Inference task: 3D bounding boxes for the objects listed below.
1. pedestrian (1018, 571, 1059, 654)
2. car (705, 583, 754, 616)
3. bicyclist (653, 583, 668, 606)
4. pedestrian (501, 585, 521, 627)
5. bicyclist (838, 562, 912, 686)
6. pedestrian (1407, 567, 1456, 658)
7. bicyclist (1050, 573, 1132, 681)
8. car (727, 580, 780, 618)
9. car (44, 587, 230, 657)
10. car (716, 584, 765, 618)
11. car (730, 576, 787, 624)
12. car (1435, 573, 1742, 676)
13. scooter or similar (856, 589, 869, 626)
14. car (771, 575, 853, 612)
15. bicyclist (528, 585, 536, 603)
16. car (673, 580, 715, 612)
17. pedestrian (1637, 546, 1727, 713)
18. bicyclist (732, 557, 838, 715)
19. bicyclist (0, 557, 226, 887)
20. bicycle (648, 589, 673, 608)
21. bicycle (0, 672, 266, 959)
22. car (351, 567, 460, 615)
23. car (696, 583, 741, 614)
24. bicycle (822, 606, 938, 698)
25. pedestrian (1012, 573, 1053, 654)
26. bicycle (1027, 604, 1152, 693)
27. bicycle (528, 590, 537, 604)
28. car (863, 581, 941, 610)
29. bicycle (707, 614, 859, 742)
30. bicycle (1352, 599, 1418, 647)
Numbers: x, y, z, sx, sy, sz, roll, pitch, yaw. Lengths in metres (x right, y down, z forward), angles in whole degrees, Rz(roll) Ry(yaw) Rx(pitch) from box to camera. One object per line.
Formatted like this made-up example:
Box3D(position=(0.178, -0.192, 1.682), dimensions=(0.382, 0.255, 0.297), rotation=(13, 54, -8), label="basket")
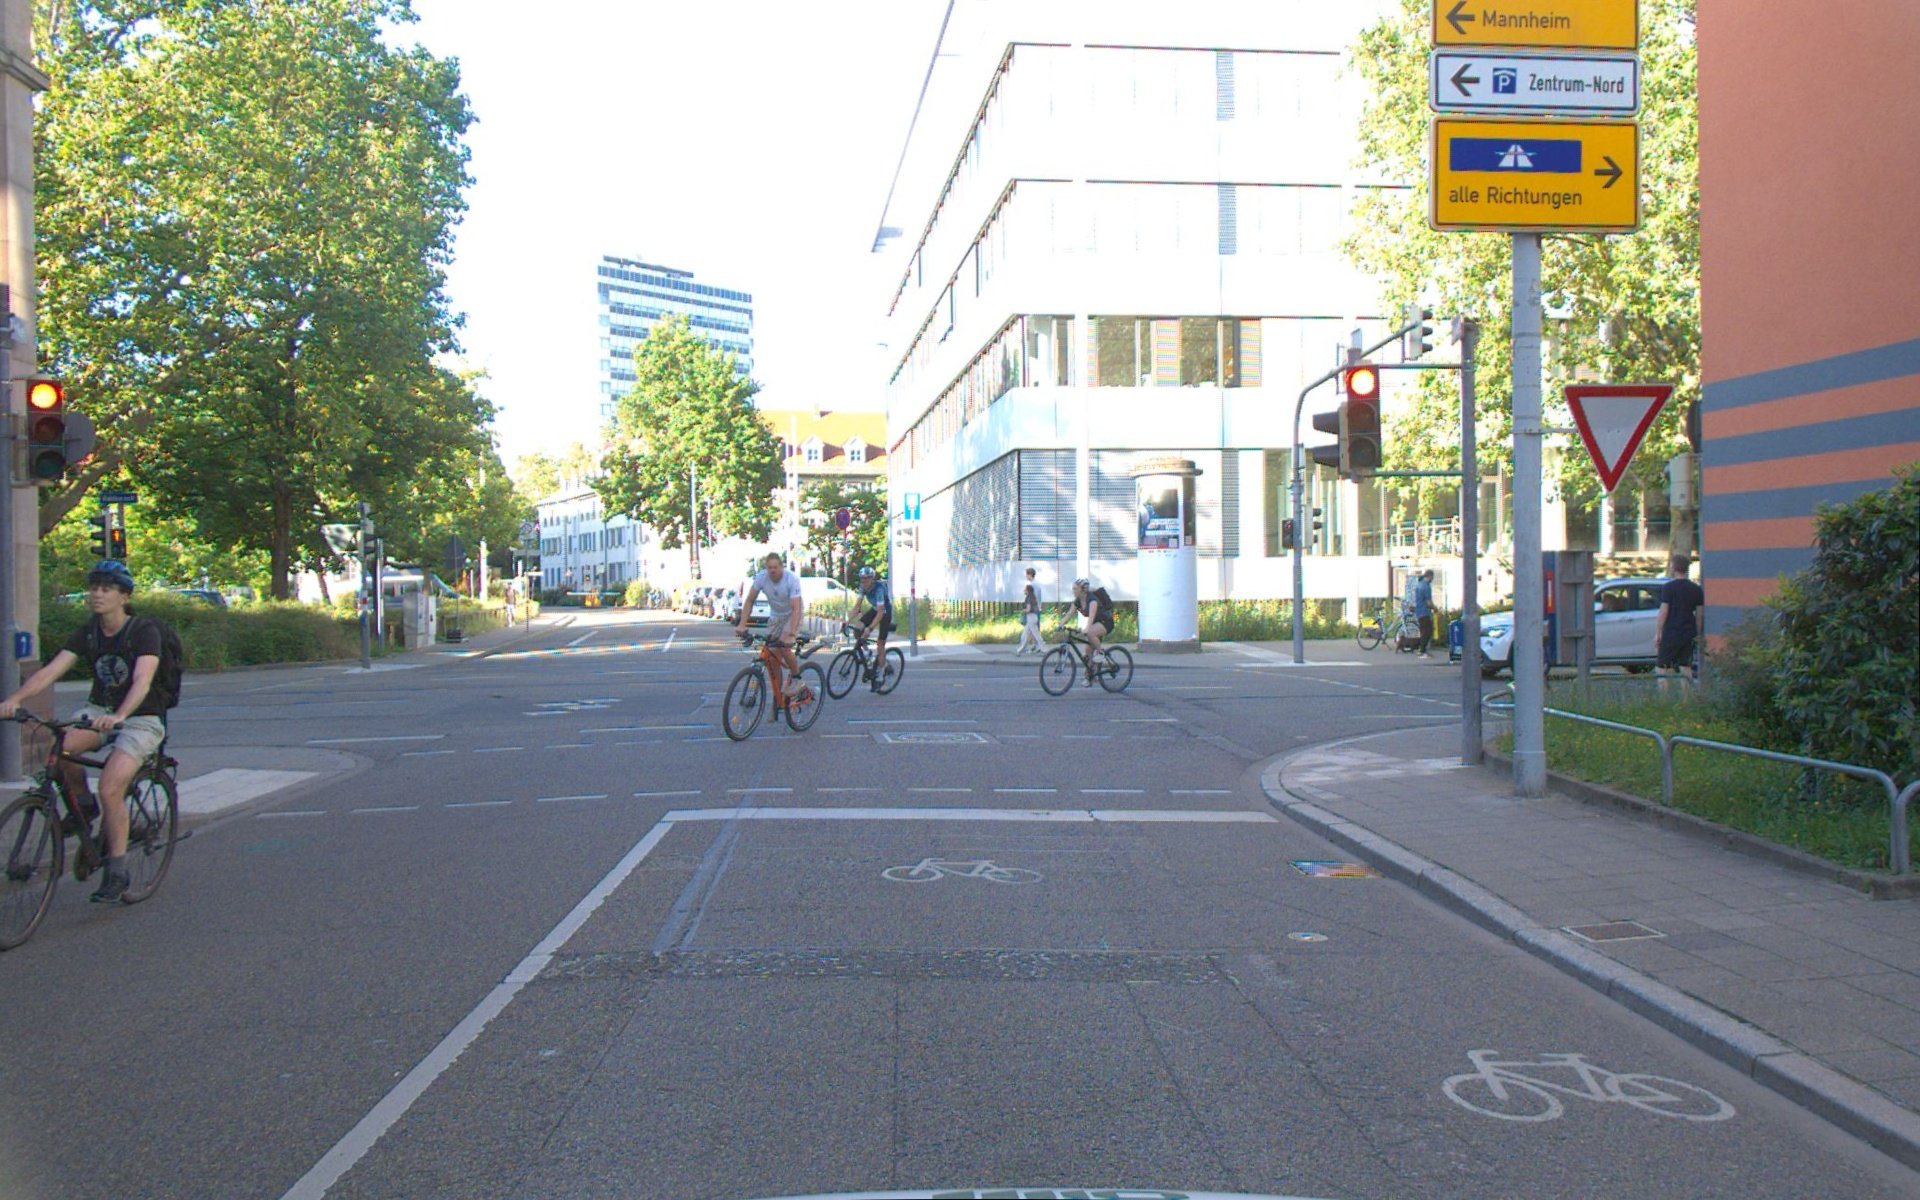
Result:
Box3D(position=(1.755, 0.273, 36.799), dimensions=(0.749, 1.826, 0.648), rotation=(1, -1, 17), label="pedestrian")
Box3D(position=(-11.320, -0.023, 81.082), dimensions=(1.959, 1.525, 4.272), rotation=(1, 0, -13), label="car")
Box3D(position=(-18.620, -0.334, 102.740), dimensions=(0.578, 1.421, 0.747), rotation=(-1, 0, 22), label="bicyclist")
Box3D(position=(-17.589, 0.227, 64.787), dimensions=(0.688, 1.614, 0.634), rotation=(1, -1, -16), label="pedestrian")
Box3D(position=(-1.150, 0.312, 22.524), dimensions=(0.615, 1.657, 0.823), rotation=(-1, 0, 35), label="bicyclist")
Box3D(position=(9.748, 0.263, 34.166), dimensions=(0.895, 1.847, 0.762), rotation=(1, -1, 21), label="pedestrian")
Box3D(position=(1.829, 0.363, 23.093), dimensions=(0.964, 1.471, 0.619), rotation=(-1, 0, -37), label="bicyclist")
Box3D(position=(-8.880, -0.030, 70.901), dimensions=(1.958, 1.525, 4.639), rotation=(1, 0, -11), label="car")
Box3D(position=(-18.374, 0.488, 37.062), dimensions=(3.347, 1.483, 1.646), rotation=(1, 0, -11), label="car")
Box3D(position=(-10.206, 0.046, 76.651), dimensions=(1.958, 1.525, 4.639), rotation=(1, 0, -11), label="car")
Box3D(position=(-7.927, 0.006, 64.702), dimensions=(1.957, 1.755, 4.641), rotation=(1, 0, -10), label="car")
Box3D(position=(9.897, 0.356, 26.172), dimensions=(4.275, 1.541, 1.715), rotation=(0, 0, -9), label="car")
Box3D(position=(-3.438, 0.258, 58.235), dimensions=(0.429, 1.278, 1.418), rotation=(-1, 0, -5), label="scooter or similar")
Box3D(position=(-9.215, -0.372, 102.796), dimensions=(4.718, 2.196, 1.990), rotation=(1, 0, -18), label="car")
Box3D(position=(-36.382, -0.503, 140.692), dimensions=(0.606, 1.498, 0.737), rotation=(-1, 0, -18), label="bicyclist")
Box3D(position=(-15.397, -0.229, 95.603), dimensions=(1.960, 1.755, 4.635), rotation=(1, 0, -14), label="car")
Box3D(position=(8.176, 0.323, 18.719), dimensions=(0.713, 1.842, 0.691), rotation=(1, -1, -42), label="pedestrian")
Box3D(position=(-1.770, 0.350, 16.778), dimensions=(0.688, 1.549, 0.918), rotation=(-1, 0, 24), label="bicyclist")
Box3D(position=(-4.271, 0.572, 8.366), dimensions=(0.578, 1.554, 1.079), rotation=(-1, 0, 2), label="bicyclist")
Box3D(position=(-18.611, -0.095, 102.758), dimensions=(0.578, 1.172, 1.970), rotation=(-1, 0, 22), label="bicycle")
Box3D(position=(-4.258, 1.006, 8.360), dimensions=(0.578, 1.172, 1.970), rotation=(-1, 0, 2), label="bicycle")
Box3D(position=(-24.974, -0.396, 74.679), dimensions=(4.363, 2.049, 1.995), rotation=(1, 0, -10), label="car")
Box3D(position=(-12.564, -0.066, 85.788), dimensions=(1.959, 1.525, 4.637), rotation=(1, 0, -13), label="car")
Box3D(position=(-1.076, 0.690, 22.623), dimensions=(0.615, 1.172, 1.778), rotation=(-1, 1, 35), label="bicycle")
Box3D(position=(1.576, 0.291, 35.943), dimensions=(0.749, 1.749, 0.648), rotation=(1, -1, 16), label="pedestrian")
Box3D(position=(1.818, 0.660, 23.100), dimensions=(1.765, 1.172, 0.619), rotation=(-1, 0, -37), label="bicycle")
Box3D(position=(-36.407, -0.249, 140.776), dimensions=(0.606, 1.172, 1.959), rotation=(-1, 0, -19), label="bicycle")
Box3D(position=(-3.690, -0.258, 104.723), dimensions=(4.563, 1.755, 1.991), rotation=(1, 0, -17), label="car")
Box3D(position=(-1.760, 0.753, 16.771), dimensions=(0.613, 1.172, 1.969), rotation=(-1, 1, 24), label="bicycle")
Box3D(position=(9.315, 0.501, 36.284), dimensions=(0.376, 1.026, 1.410), rotation=(-1, 0, -42), label="bicycle")
